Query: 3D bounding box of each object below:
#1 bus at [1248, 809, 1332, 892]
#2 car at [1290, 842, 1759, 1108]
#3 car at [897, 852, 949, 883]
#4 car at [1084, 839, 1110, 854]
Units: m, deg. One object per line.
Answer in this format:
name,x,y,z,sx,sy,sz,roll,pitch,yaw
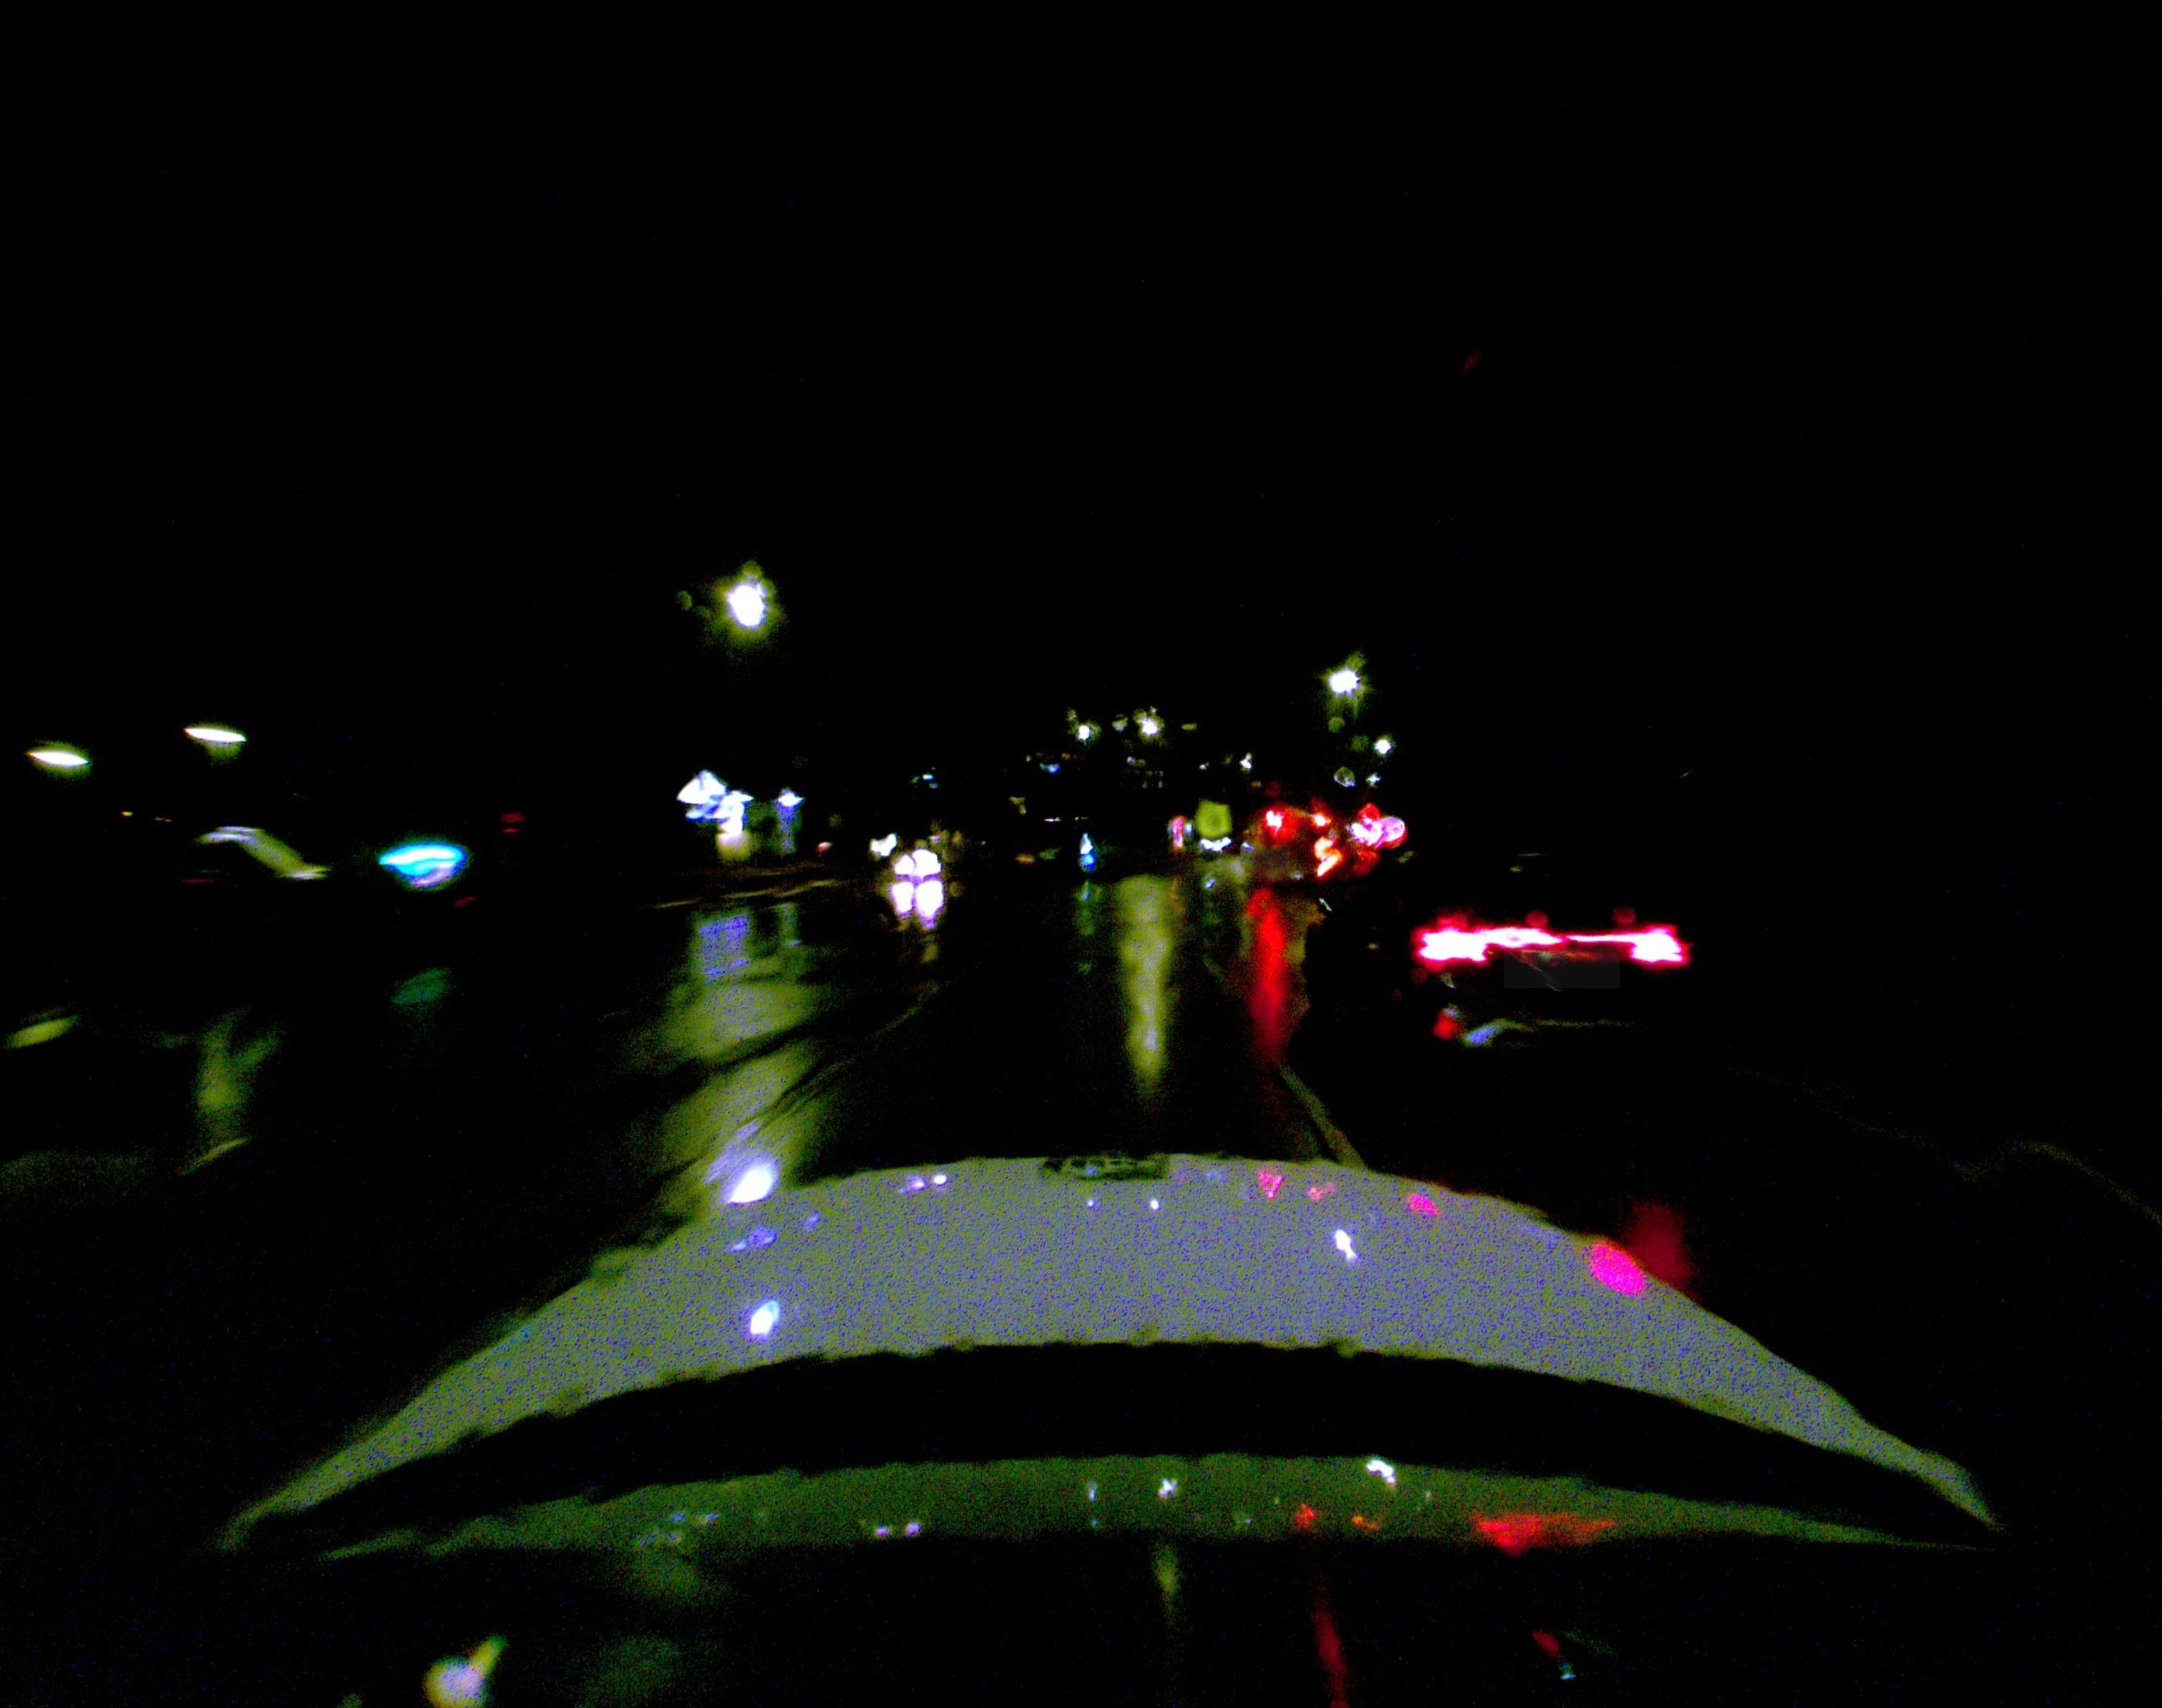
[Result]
bus,9.014,-0.138,36.098,3.024,3.212,9.076,0,0,11
car,3.081,0.694,6.751,1.984,1.524,4.005,0,0,5
car,-7.869,0.655,40.860,1.759,1.457,3.953,1,0,1
car,1.773,-0.894,90.522,1.979,1.594,4.017,-1,1,15
